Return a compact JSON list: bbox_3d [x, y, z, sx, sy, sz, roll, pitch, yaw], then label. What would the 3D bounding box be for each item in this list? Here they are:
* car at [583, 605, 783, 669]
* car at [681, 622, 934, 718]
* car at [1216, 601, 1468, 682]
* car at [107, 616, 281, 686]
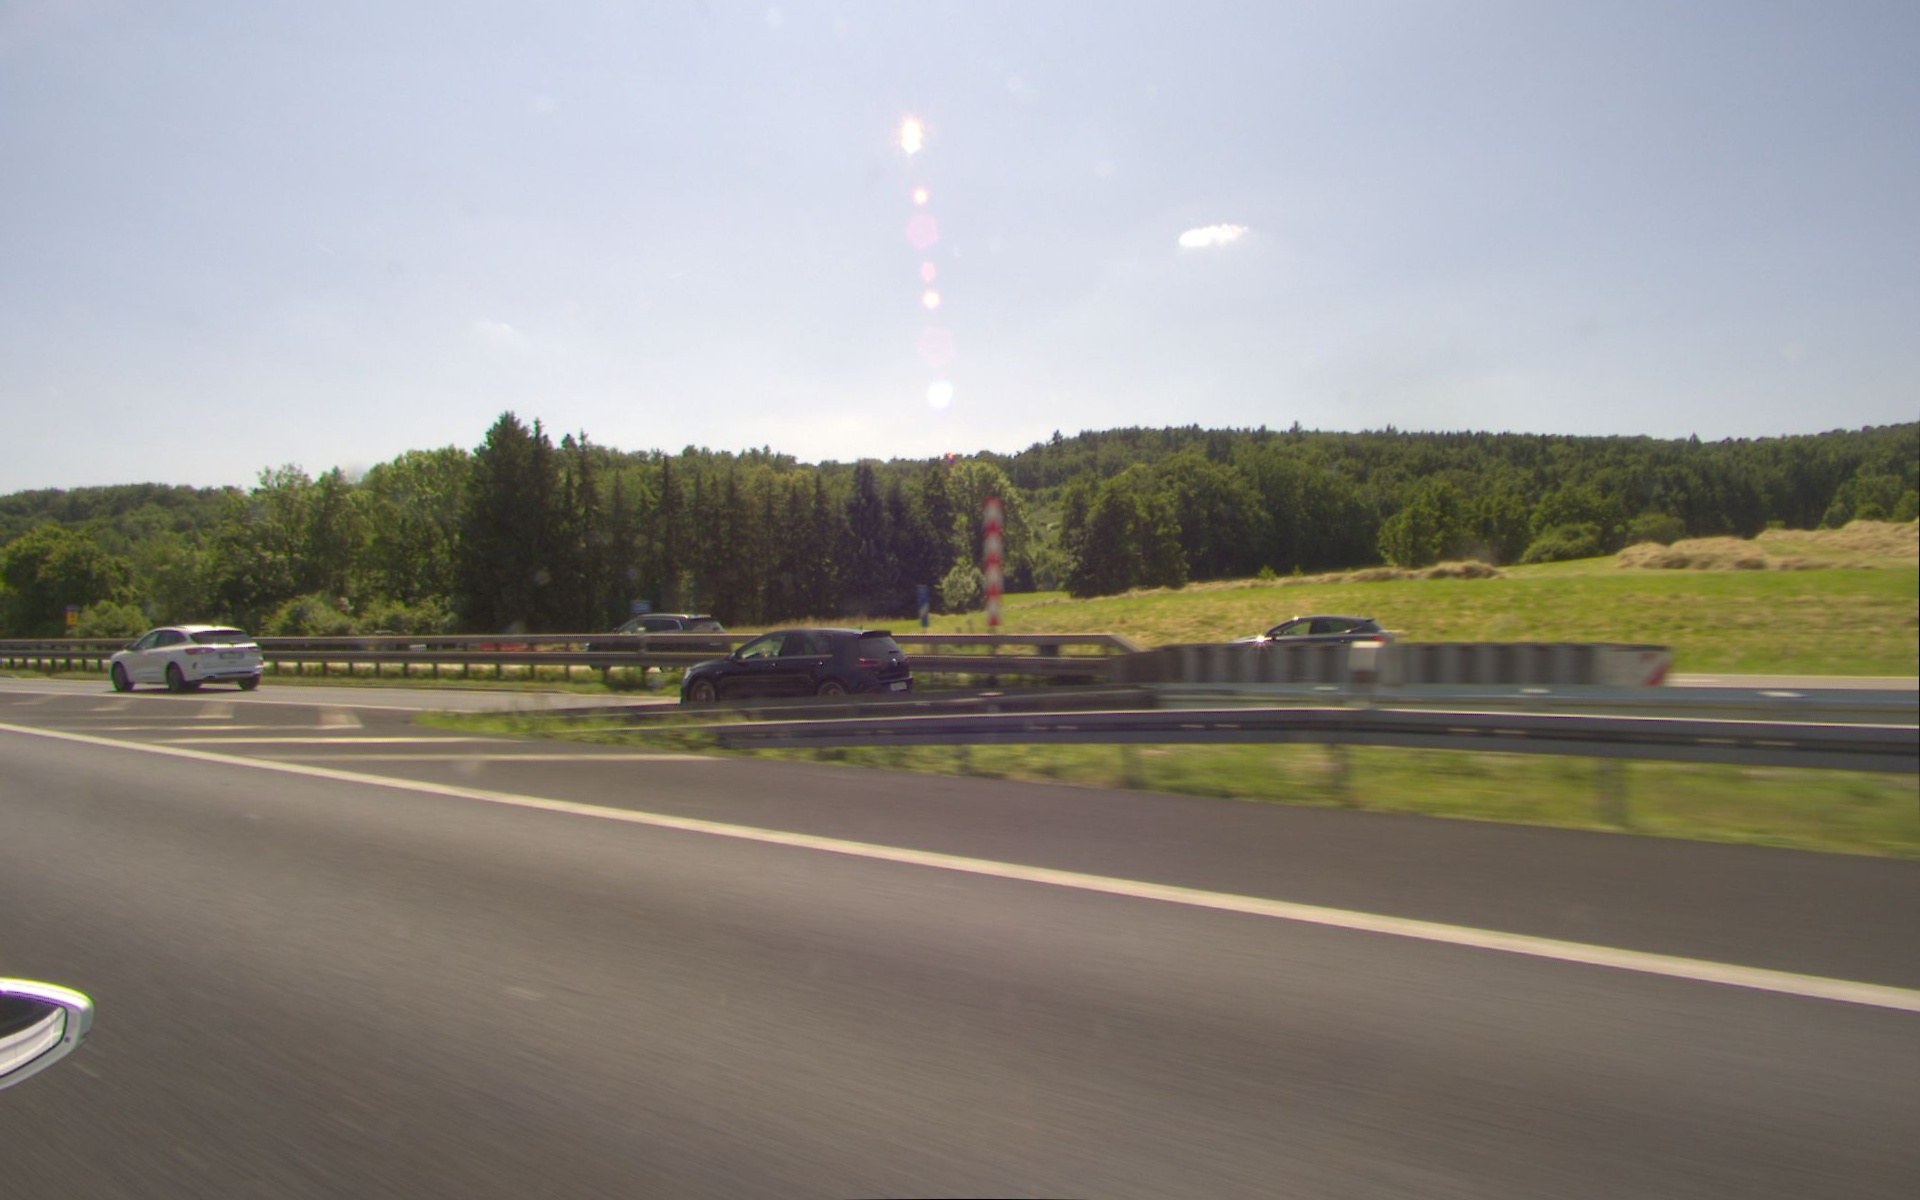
[{"bbox_3d":[-7.844,1.062,28.230,5.537,1.683,1.994,-1,-2,26],"label":"car"},{"bbox_3d":[-2.578,1.134,16.878,3.902,1.453,1.795,-1,-2,26],"label":"car"},{"bbox_3d":[8.618,0.945,22.724,5.146,1.683,1.993,-1,-2,27],"label":"car"},{"bbox_3d":[-19.951,1.313,26.068,4.400,1.683,1.992,-1,-2,29],"label":"car"}]
